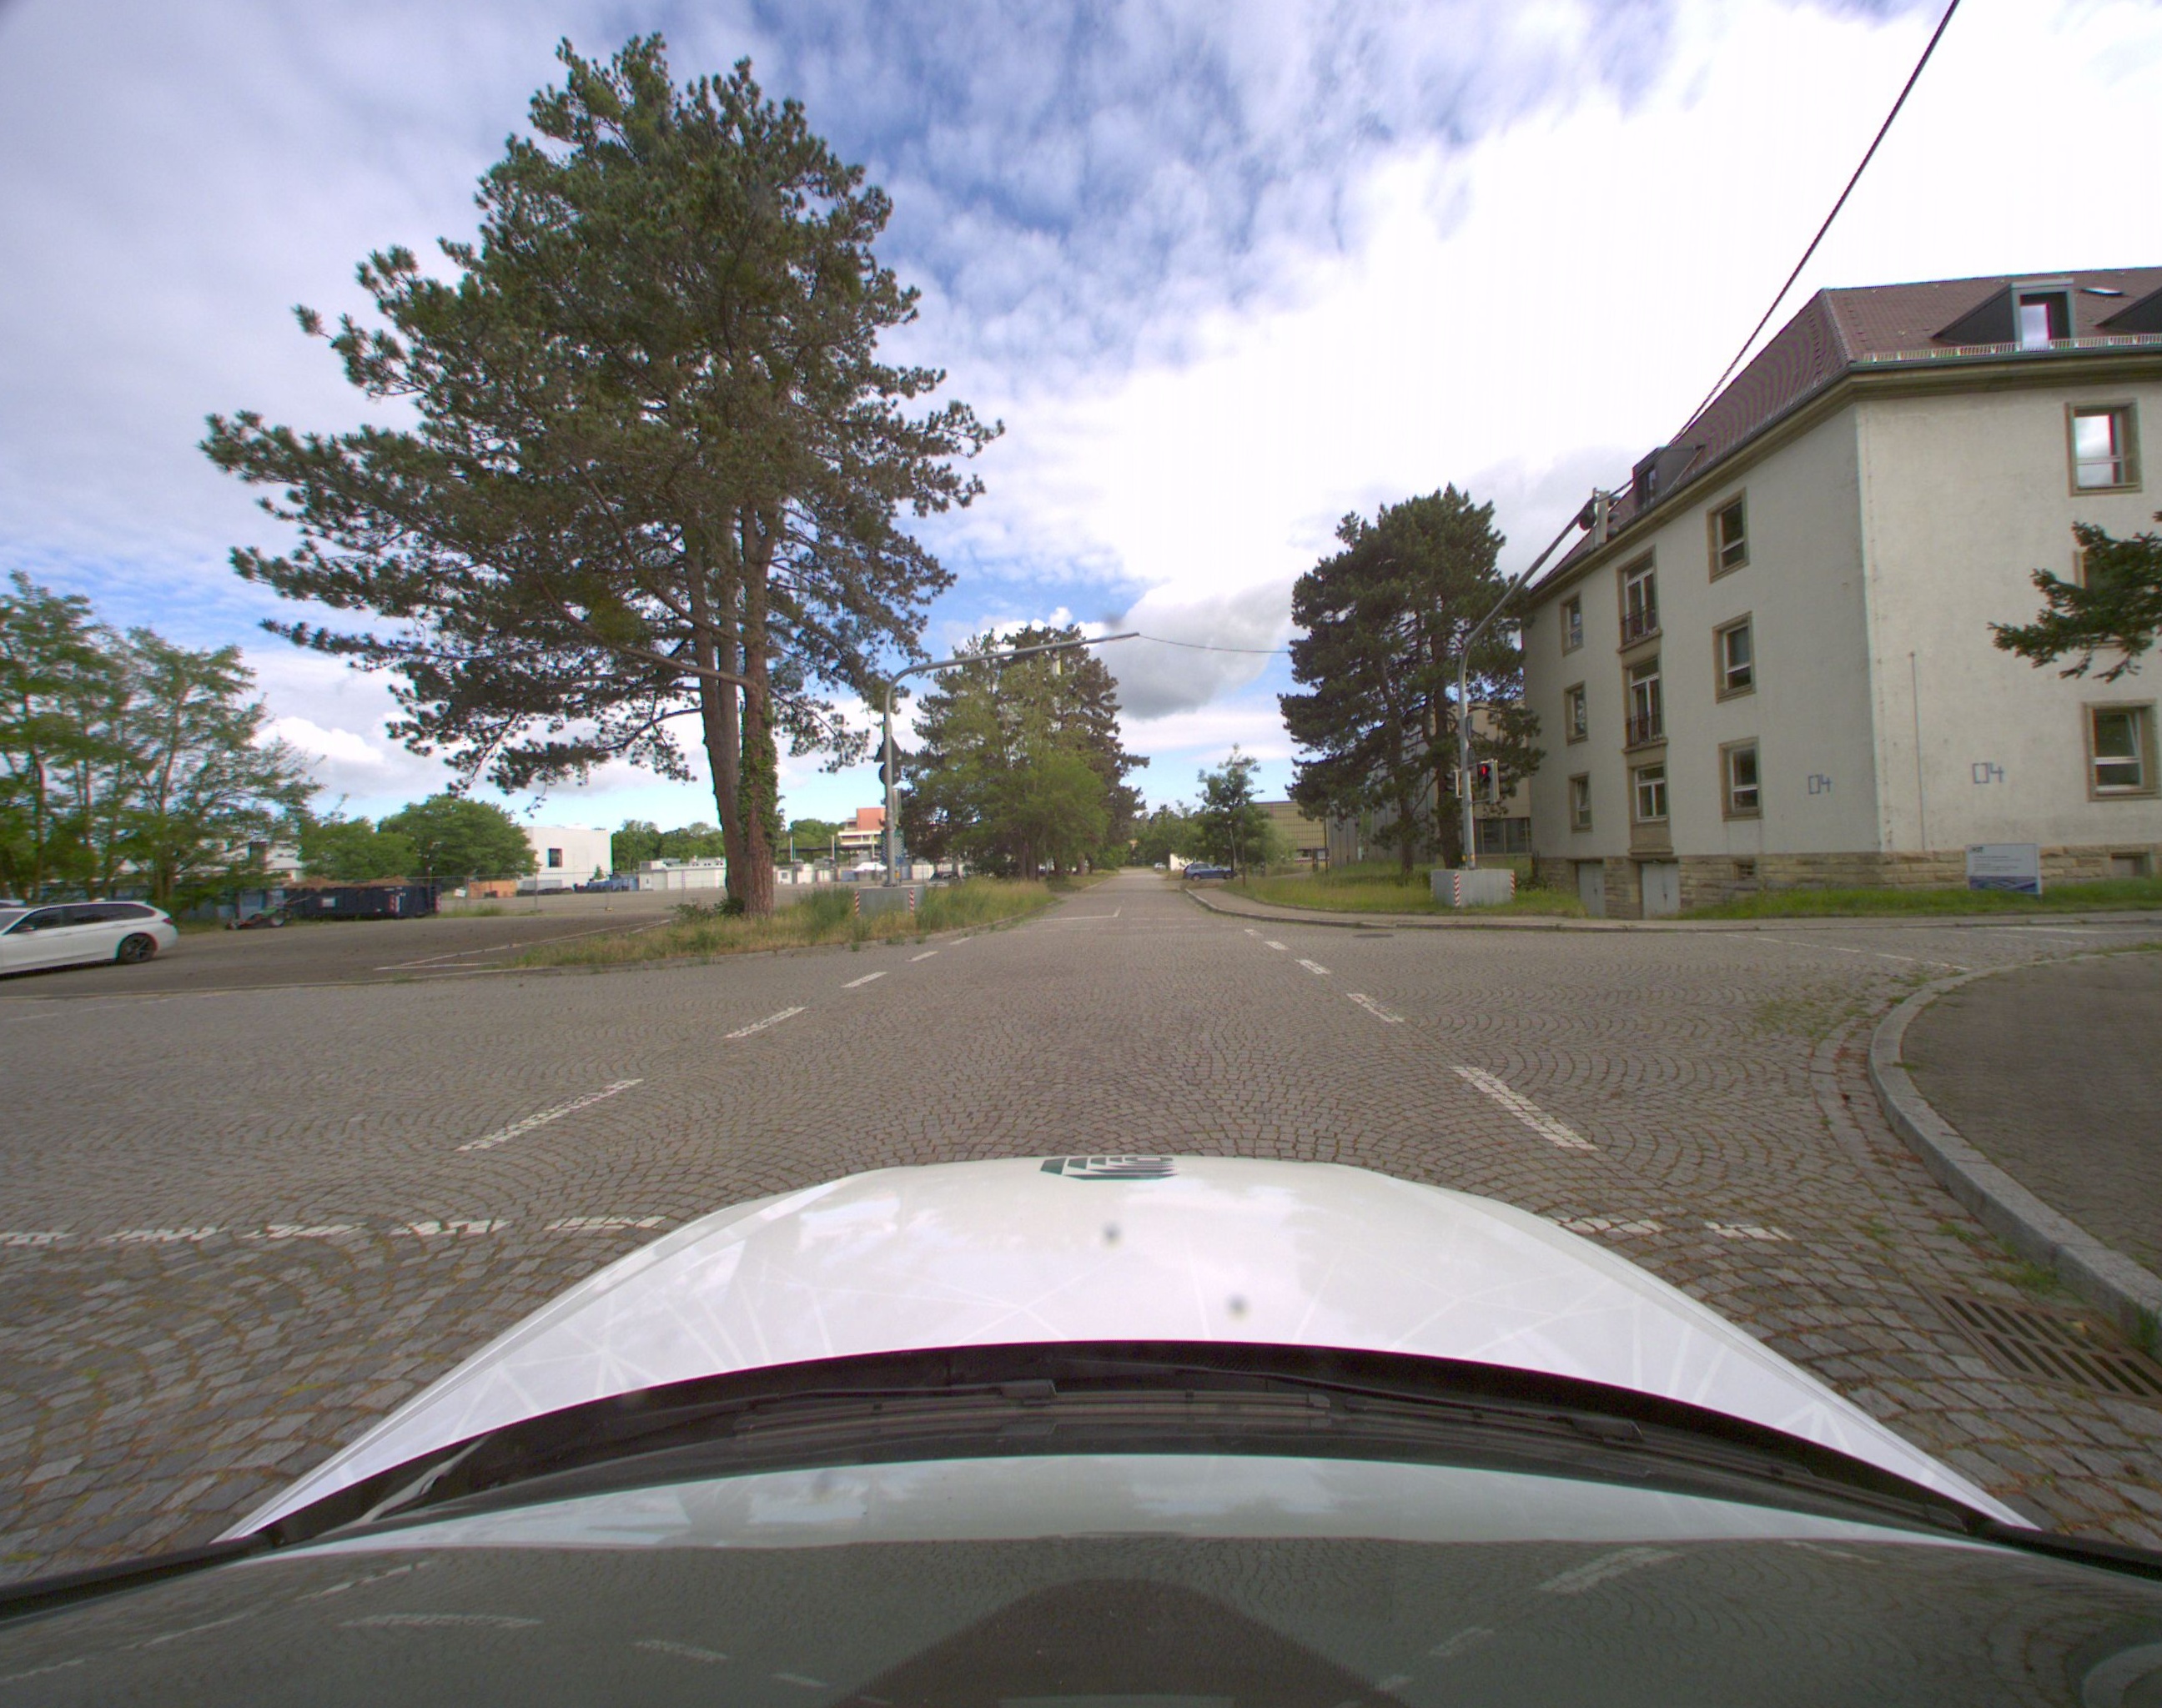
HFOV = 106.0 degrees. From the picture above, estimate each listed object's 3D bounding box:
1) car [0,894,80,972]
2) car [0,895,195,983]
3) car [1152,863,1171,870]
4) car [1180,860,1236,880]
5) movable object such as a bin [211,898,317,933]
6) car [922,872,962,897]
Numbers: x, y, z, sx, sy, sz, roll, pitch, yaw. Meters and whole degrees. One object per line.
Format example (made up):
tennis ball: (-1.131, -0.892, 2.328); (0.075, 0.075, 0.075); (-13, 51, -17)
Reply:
car: (-24.224, 1.814, 16.737); (1.815, 1.584, 4.327); (-2, 2, 1)
car: (-21.733, 1.772, 16.680); (1.803, 1.441, 4.742); (-2, 1, 1)
car: (18.205, 2.758, 184.094); (3.976, 1.398, 1.998); (-2, -1, -2)
car: (10.432, 1.332, 67.160); (4.327, 1.422, 2.001); (-2, -1, 2)
movable object such as a bin: (-29.713, 2.219, 29.694); (1.174, 1.048, 2.657); (-2, -1, -1)
car: (-9.077, 1.984, 53.443); (1.606, 1.487, 4.004); (-2, -1, 4)
